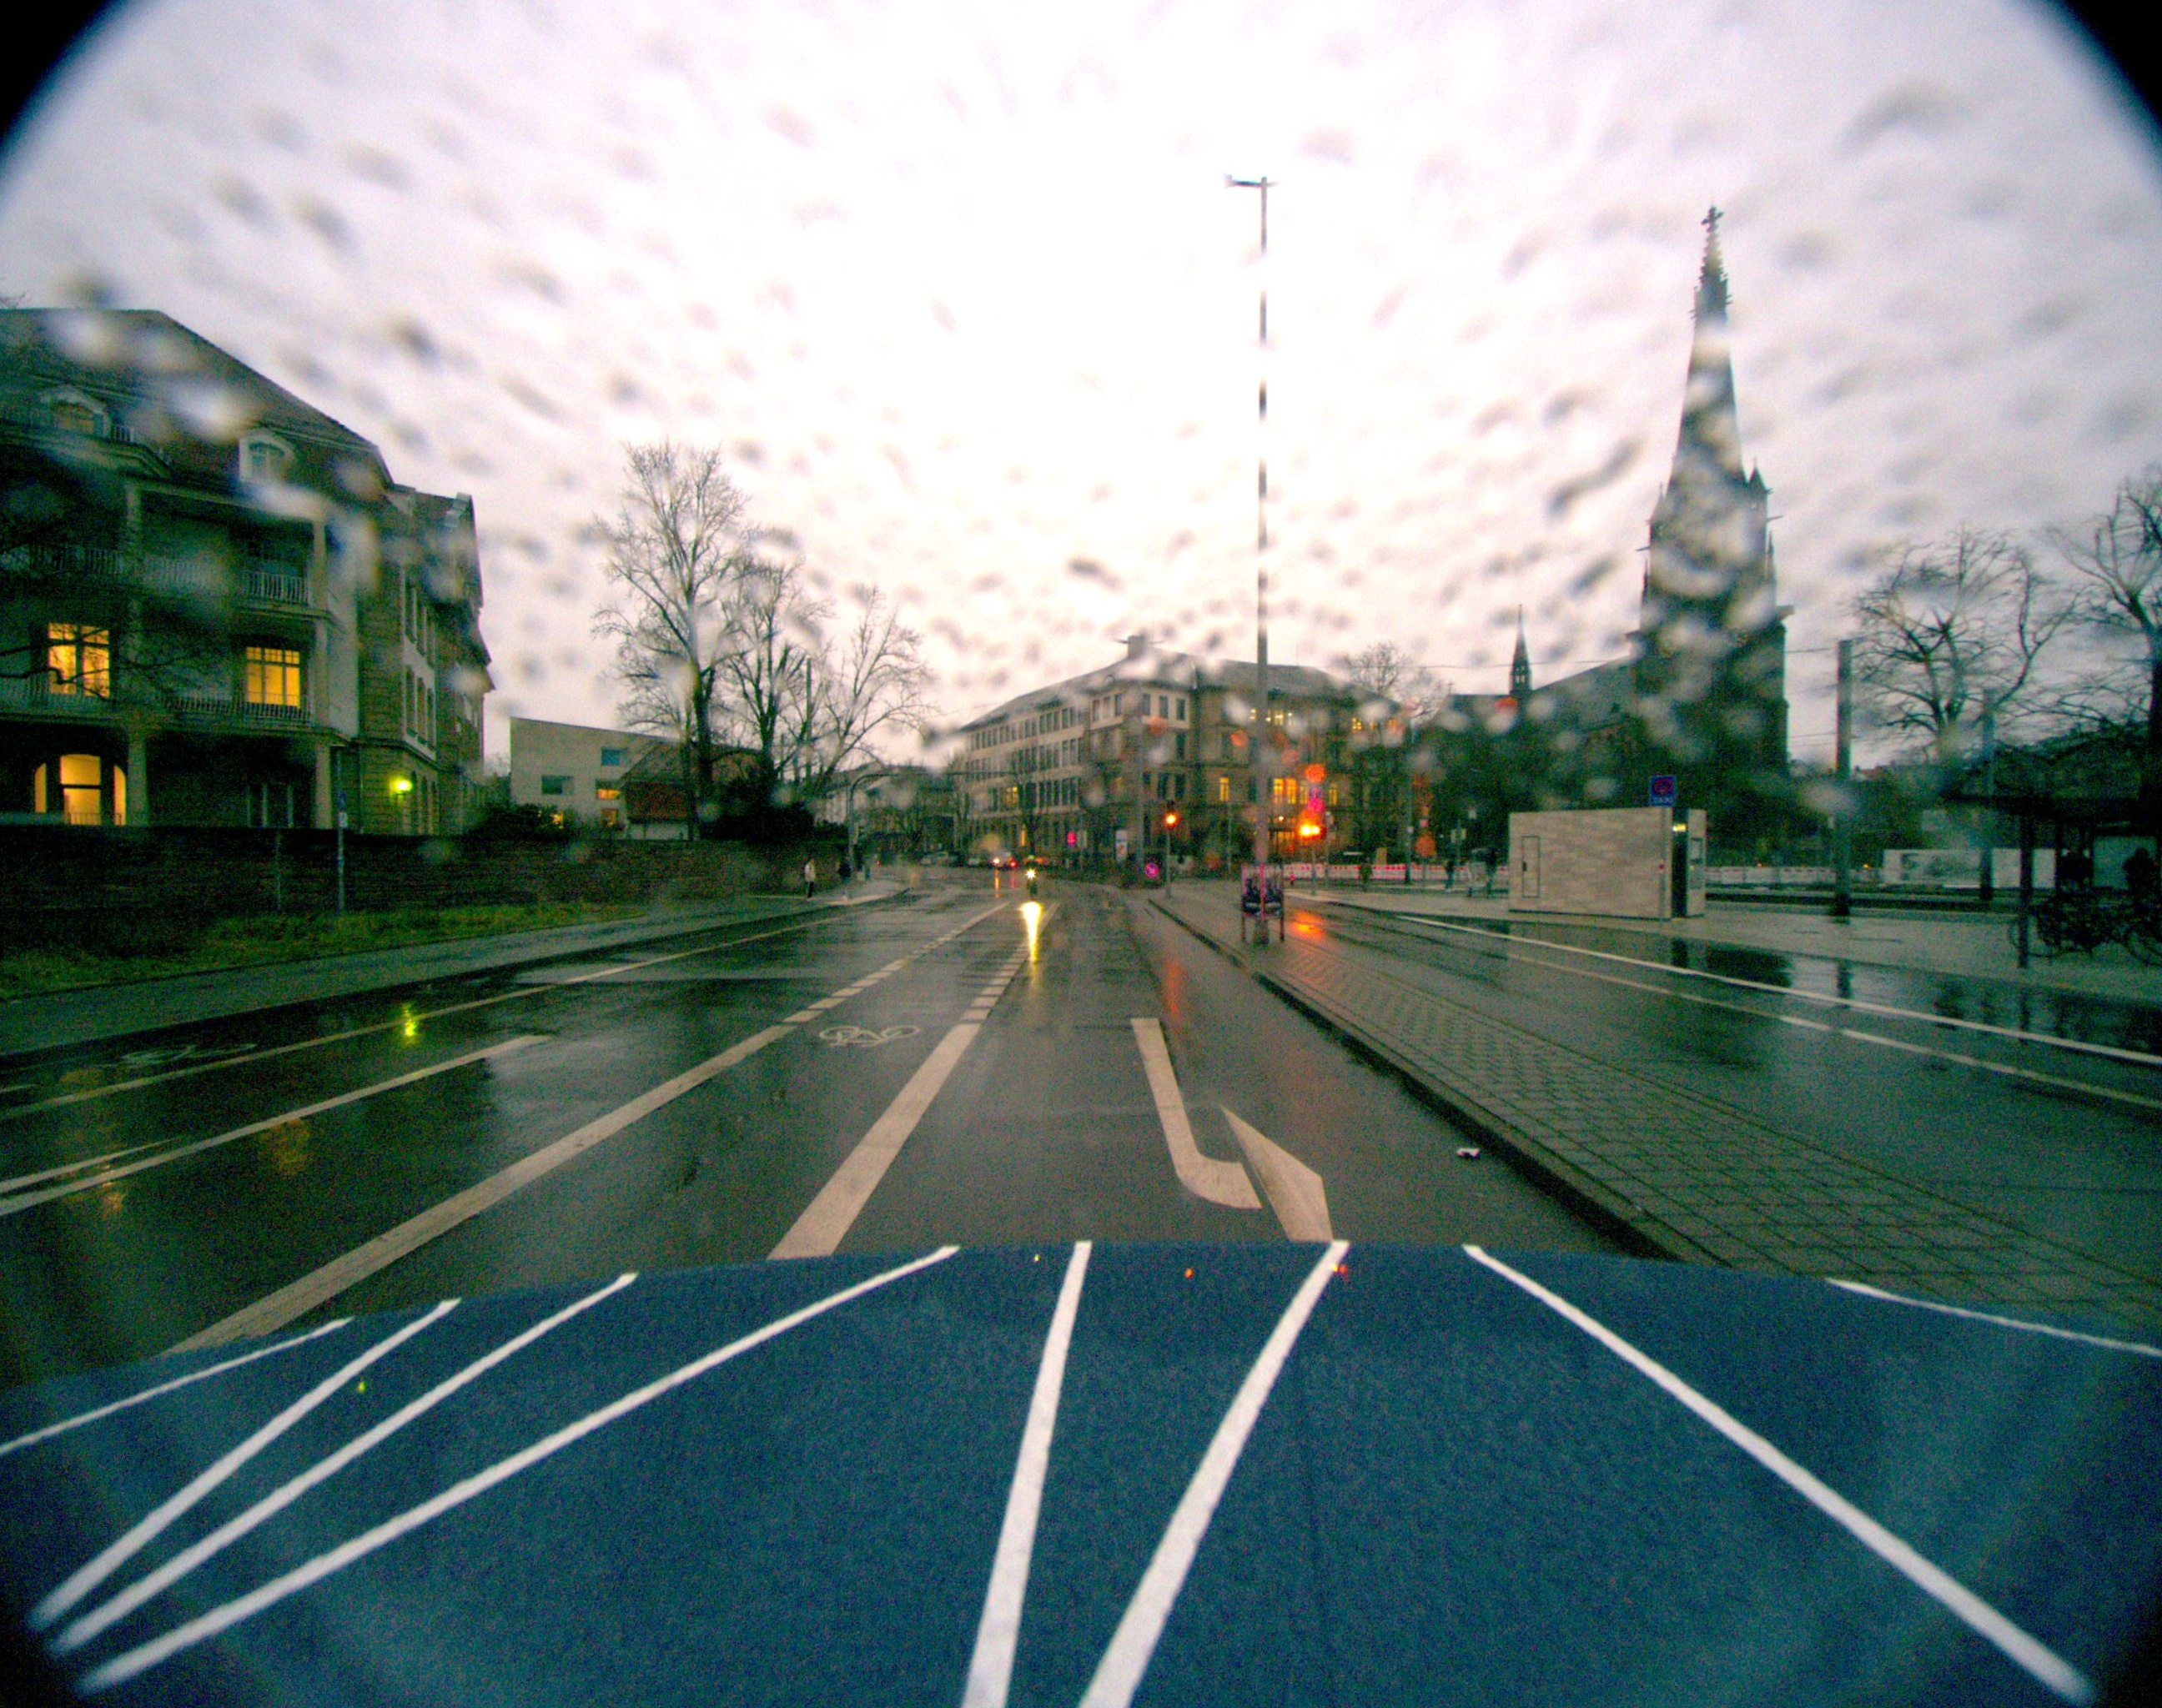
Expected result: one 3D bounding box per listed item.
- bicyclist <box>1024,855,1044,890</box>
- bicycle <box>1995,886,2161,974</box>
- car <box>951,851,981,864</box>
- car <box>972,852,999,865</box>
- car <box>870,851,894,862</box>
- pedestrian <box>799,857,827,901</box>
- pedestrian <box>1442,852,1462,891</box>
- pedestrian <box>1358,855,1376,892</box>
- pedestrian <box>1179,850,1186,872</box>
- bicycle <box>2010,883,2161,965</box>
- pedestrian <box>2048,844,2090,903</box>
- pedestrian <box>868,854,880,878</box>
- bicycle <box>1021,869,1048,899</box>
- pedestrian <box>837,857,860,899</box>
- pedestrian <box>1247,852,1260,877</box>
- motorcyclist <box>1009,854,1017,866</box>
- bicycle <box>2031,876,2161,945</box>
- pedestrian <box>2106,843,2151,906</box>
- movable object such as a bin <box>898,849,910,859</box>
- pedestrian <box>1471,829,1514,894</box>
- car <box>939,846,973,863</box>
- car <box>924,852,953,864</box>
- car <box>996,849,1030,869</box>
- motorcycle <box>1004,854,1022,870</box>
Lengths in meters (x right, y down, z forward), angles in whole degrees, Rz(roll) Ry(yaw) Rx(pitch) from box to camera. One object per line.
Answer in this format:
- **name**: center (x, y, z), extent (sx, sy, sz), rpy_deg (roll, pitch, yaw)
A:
- **bicyclist**: center (-1.843, 0.719, 29.899), extent (0.717, 1.335, 0.719), rpy_deg (-2, 2, 1)
- **bicycle**: center (15.576, 1.129, 11.625), extent (0.551, 1.158, 1.938), rpy_deg (-3, 3, -29)
- **car**: center (-15.004, 0.454, 99.358), extent (1.819, 1.531, 3.983), rpy_deg (0, 2, 29)
- **car**: center (-12.007, 0.563, 95.471), extent (1.633, 1.449, 3.831), rpy_deg (-1, 2, 23)
- **car**: center (-26.824, 0.316, 102.457), extent (1.756, 1.370, 4.354), rpy_deg (1, 0, -34)
- **pedestrian**: center (-10.521, 0.974, 29.809), extent (0.963, 1.666, 0.778), rpy_deg (1, 1, -21)
- **pedestrian**: center (17.799, 0.811, 36.473), extent (0.604, 1.803, 0.826), rpy_deg (-4, 1, 15)
- **pedestrian**: center (13.394, 0.895, 35.583), extent (0.673, 1.665, 0.731), rpy_deg (0, 3, 32)
- **pedestrian**: center (9.085, 0.638, 68.256), extent (0.571, 2.003, 0.587), rpy_deg (-1, 3, 5)
- **bicycle**: center (16.573, 1.111, 12.272), extent (0.551, 1.158, 1.894), rpy_deg (-3, 3, -29)
- **pedestrian**: center (30.248, 0.574, 23.265), extent (0.715, 1.747, 0.715), rpy_deg (-2, 2, -34)
- **pedestrian**: center (-14.668, 0.823, 53.879), extent (0.808, 1.675, 1.155), rpy_deg (1, 0, -16)
- **bicycle**: center (-1.813, 1.166, 29.875), extent (0.723, 1.084, 2.286), rpy_deg (-2, 0, 4)
- **pedestrian**: center (-9.513, 0.980, 31.107), extent (0.792, 1.666, 0.729), rpy_deg (1, 1, -12)
- **pedestrian**: center (14.162, 0.850, 62.500), extent (0.646, 2.003, 0.740), rpy_deg (-4, 3, -36)
- **motorcyclist**: center (-6.628, 0.577, 73.721), extent (0.538, 1.187, 0.609), rpy_deg (-3, 3, -29)
- **bicycle**: center (19.649, 1.060, 14.452), extent (0.551, 1.158, 1.894), rpy_deg (-3, 3, -29)
- **pedestrian**: center (30.805, 0.592, 22.341), extent (0.715, 1.796, 0.715), rpy_deg (-2, 2, -34)
- **movable object such as a bin**: center (-27.073, 0.067, 116.050), extent (1.341, 1.456, 0.987), rpy_deg (-1, 3, 19)
- **pedestrian**: center (15.306, 0.258, 28.285), extent (0.996, 2.357, 1.063), rpy_deg (-2, 3, -4)
- **car**: center (-16.755, 0.095, 101.727), extent (1.961, 2.042, 4.629), rpy_deg (0, 2, 29)
- **car**: center (-19.979, 0.552, 106.663), extent (1.771, 1.582, 4.191), rpy_deg (0, 2, 27)
- **car**: center (-7.469, 0.513, 84.219), extent (1.908, 2.022, 4.809), rpy_deg (-1, 2, 19)
- **motorcycle**: center (-6.622, 0.762, 73.766), extent (0.833, 1.488, 2.309), rpy_deg (0, 1, -29)
